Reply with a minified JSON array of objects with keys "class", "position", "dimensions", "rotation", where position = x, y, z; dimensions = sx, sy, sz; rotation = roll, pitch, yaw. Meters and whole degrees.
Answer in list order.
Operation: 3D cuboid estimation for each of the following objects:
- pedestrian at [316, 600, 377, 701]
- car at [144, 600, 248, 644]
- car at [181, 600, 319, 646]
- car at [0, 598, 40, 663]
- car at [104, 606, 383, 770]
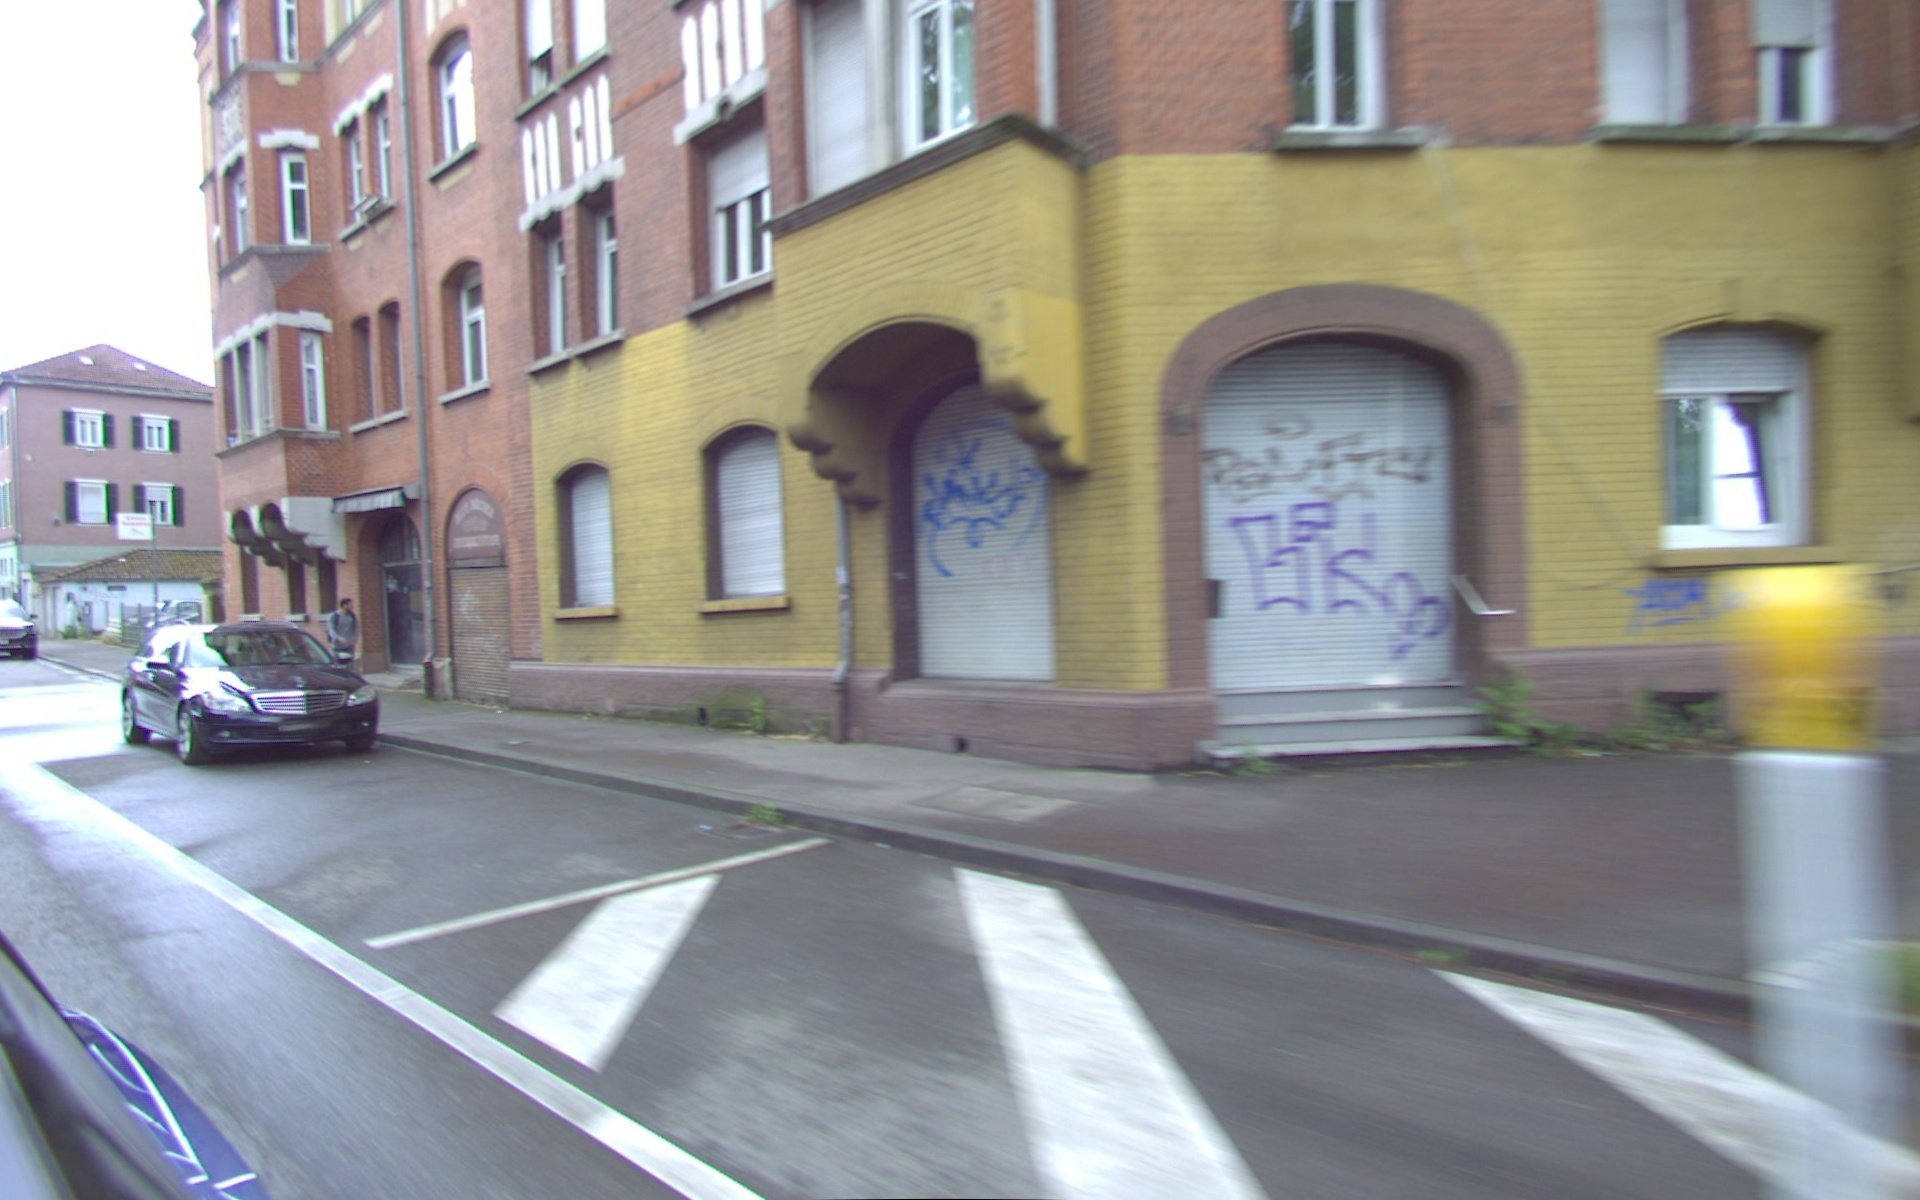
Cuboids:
[{"class":"pedestrian","position":[-10.360,0.839,17.086],"dimensions":[0.632,1.621,0.653],"rotation":[-2,2,41]},{"class":"car","position":[-28.830,0.822,38.202],"dimensions":[1.852,1.577,2.817],"rotation":[0,-1,41]},{"class":"car","position":[-24.349,0.763,34.793],"dimensions":[1.852,1.516,3.558],"rotation":[0,-1,41]},{"class":"car","position":[-28.178,0.882,29.151],"dimensions":[4.771,1.747,1.934],"rotation":[-1,0,41]},{"class":"car","position":[-8.410,0.922,11.716],"dimensions":[4.389,1.497,1.706],"rotation":[-3,0,42]}]
